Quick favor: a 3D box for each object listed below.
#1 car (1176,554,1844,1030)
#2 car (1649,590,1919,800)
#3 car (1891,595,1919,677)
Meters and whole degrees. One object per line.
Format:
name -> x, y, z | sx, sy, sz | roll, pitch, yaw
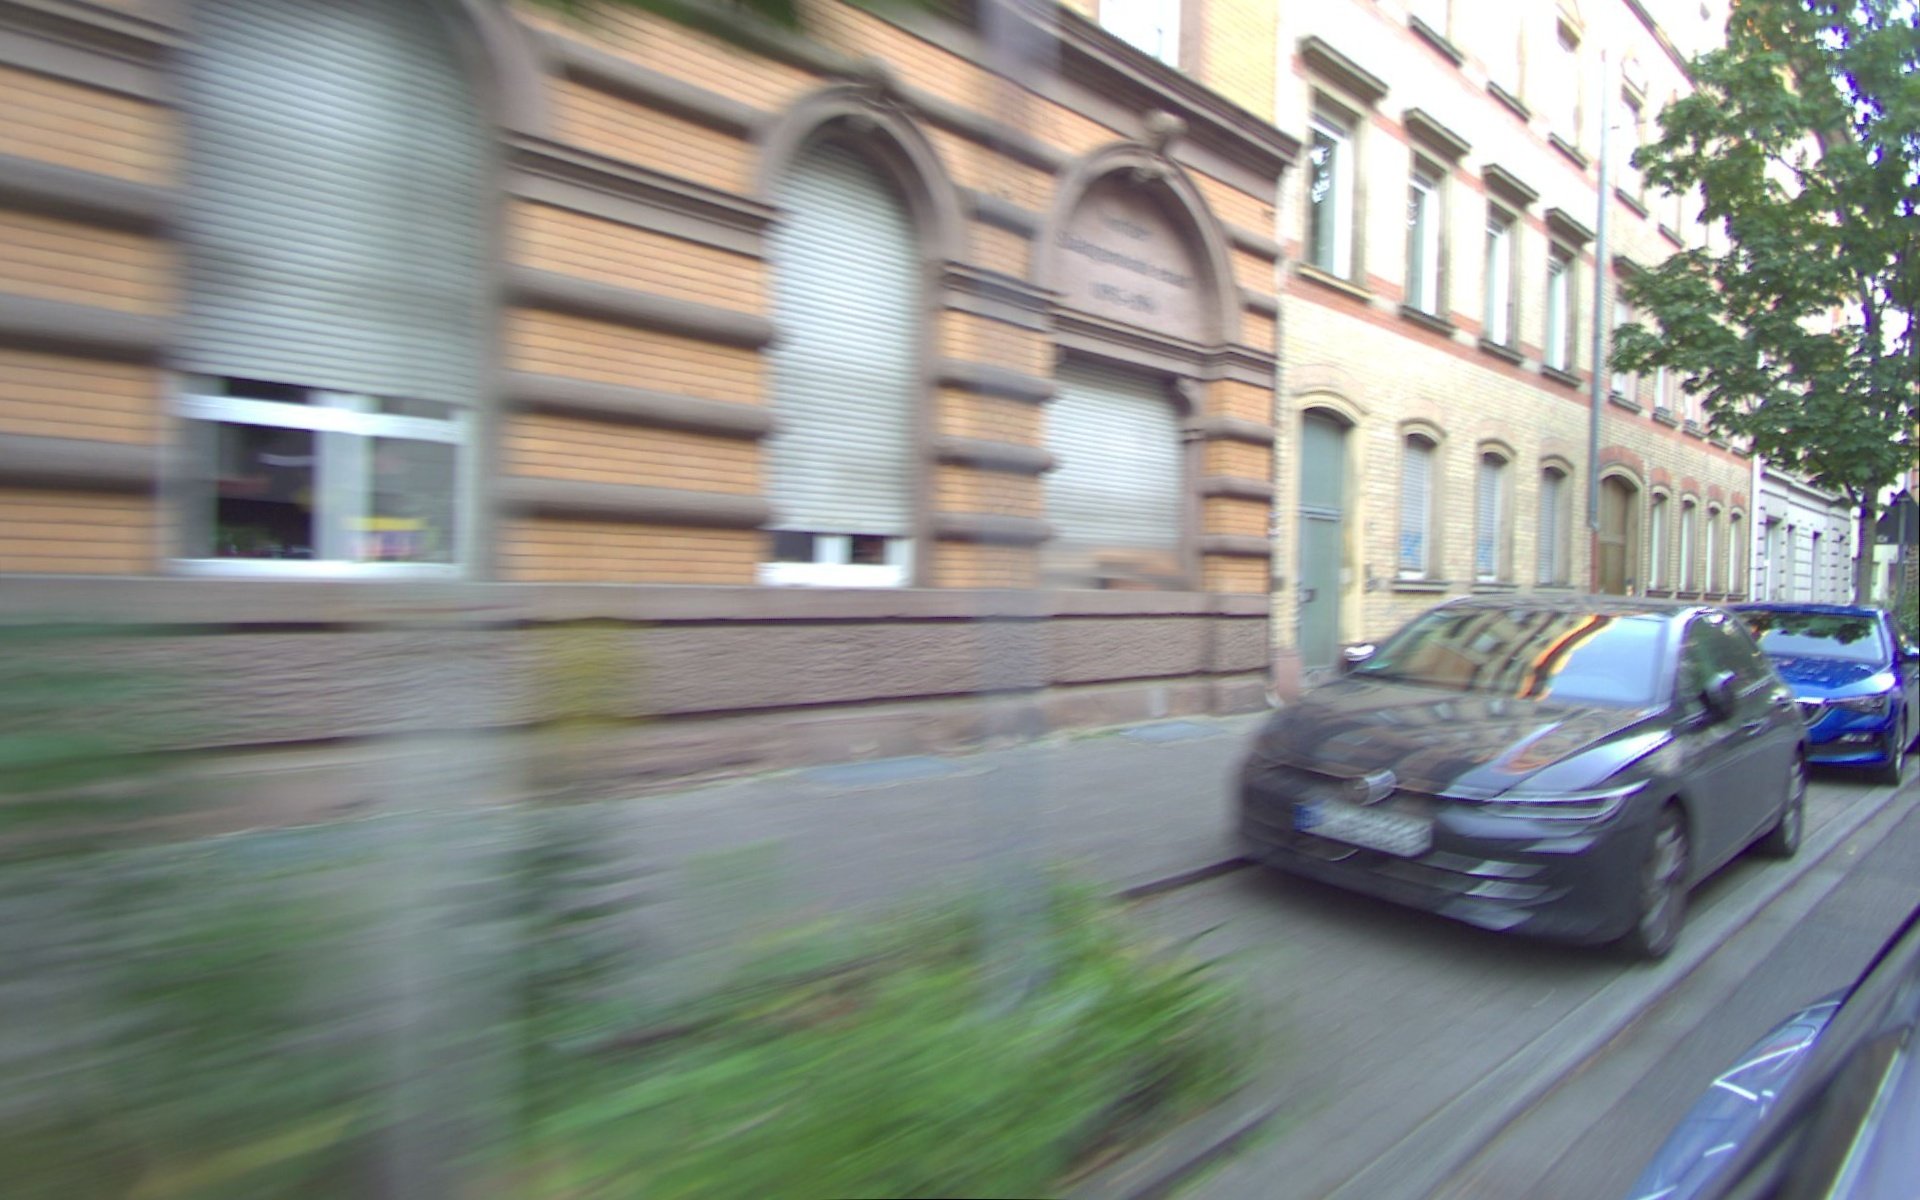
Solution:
car -> 3.062, 0.588, 5.201 | 4.119, 1.496, 1.714 | 0, 1, -41
car -> 7.869, 0.671, 9.302 | 4.173, 1.485, 1.630 | 0, 1, -43
car -> 19.020, 0.667, 18.937 | 4.394, 1.432, 1.771 | 0, 3, -40
